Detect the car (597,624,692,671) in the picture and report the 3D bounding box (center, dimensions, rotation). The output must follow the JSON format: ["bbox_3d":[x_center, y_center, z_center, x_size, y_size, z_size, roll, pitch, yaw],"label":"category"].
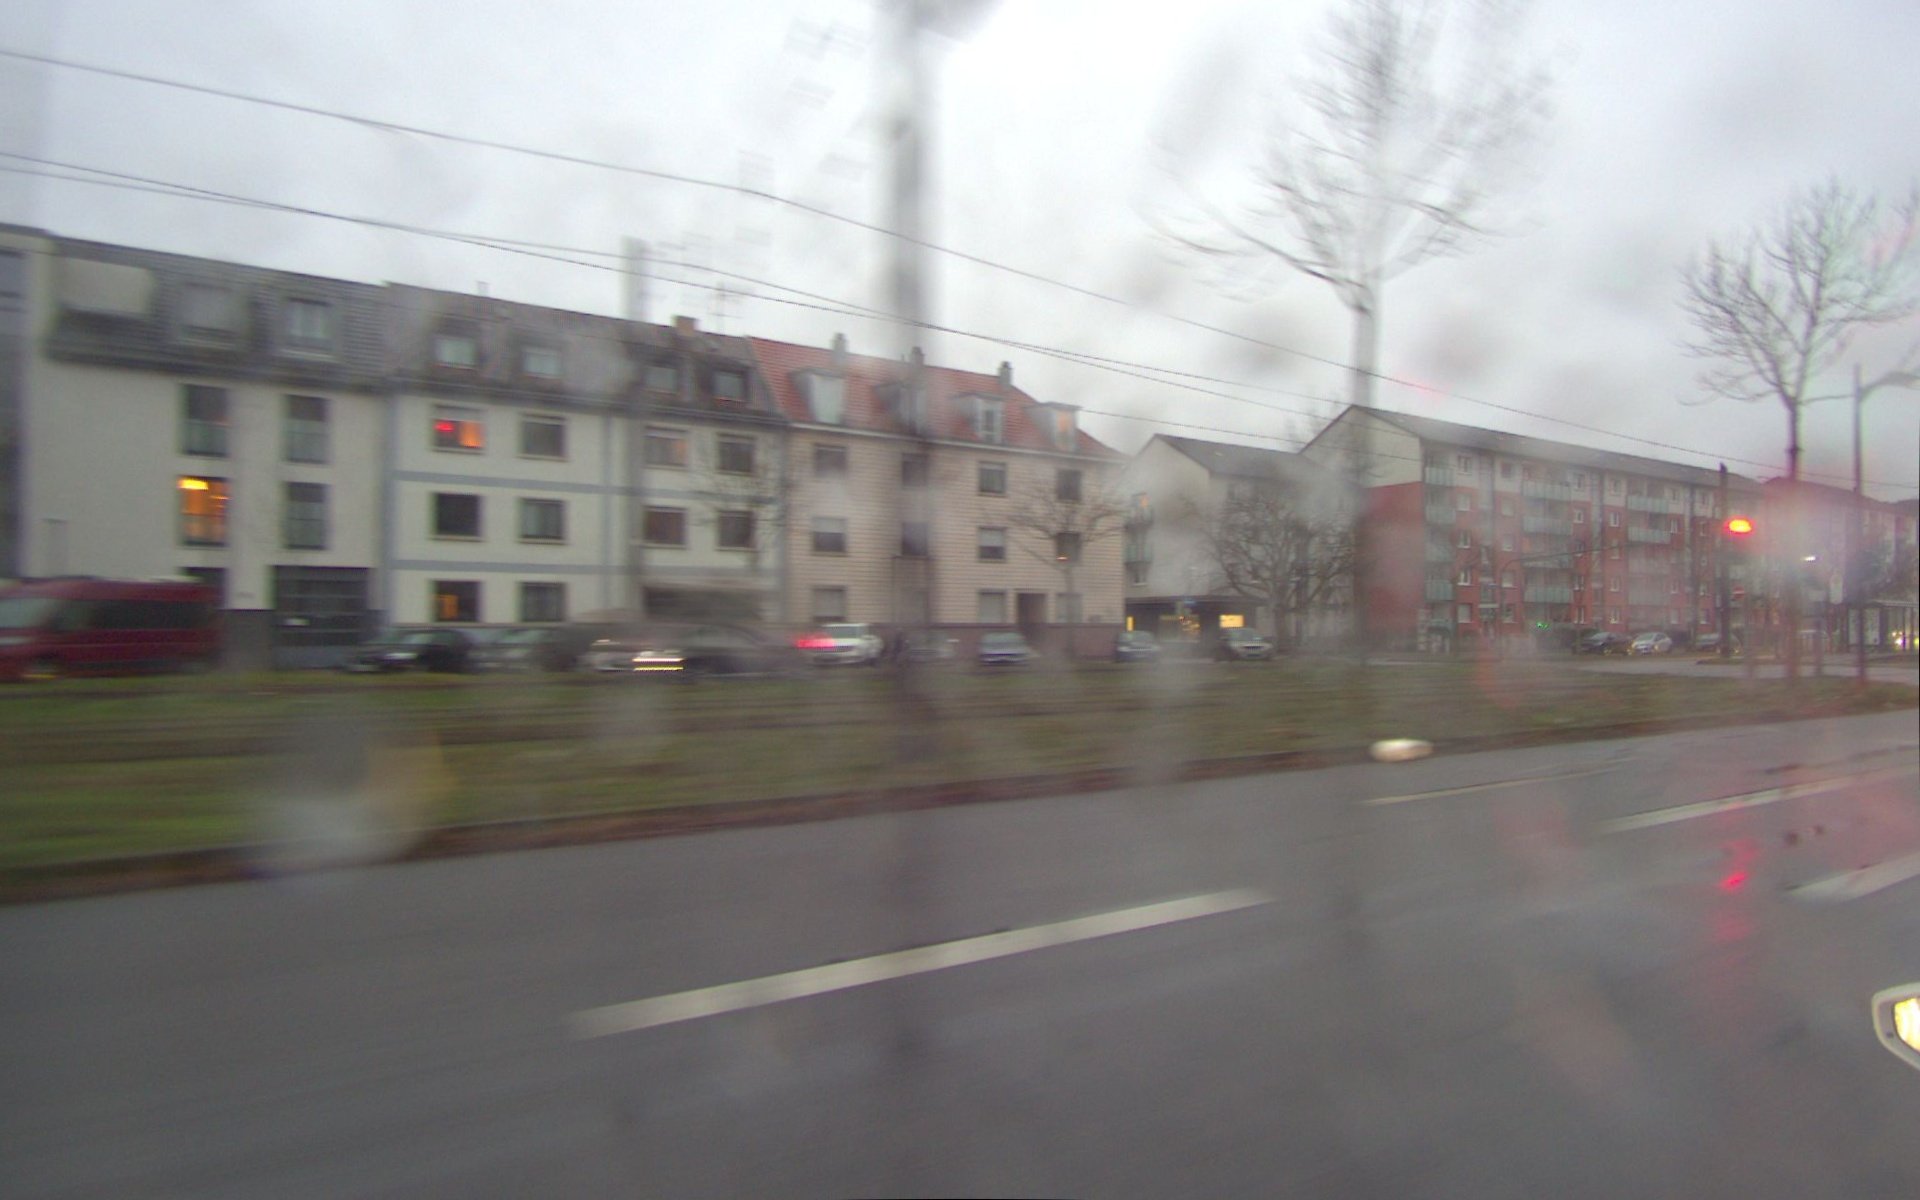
[{"bbox_3d":[-9.102,1.346,29.250,1.658,1.163,3.419,1,0,0],"label":"car"}]

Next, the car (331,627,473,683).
[{"bbox_3d":[-14.521,1.386,26.354,1.713,1.228,3.540,1,0,0],"label":"car"}]

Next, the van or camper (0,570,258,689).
[{"bbox_3d":[-20.104,0.560,23.708,1.960,2.391,6.883,1,0,3],"label":"van or camper"}]

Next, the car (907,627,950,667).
[{"bbox_3d":[-1.056,1.586,34.500,1.369,1.163,3.044,1,0,0],"label":"car"}]

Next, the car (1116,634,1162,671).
[{"bbox_3d":[7.125,2.071,40.209,1.424,1.355,3.770,0,-1,5],"label":"car"}]

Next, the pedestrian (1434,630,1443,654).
[{"bbox_3d":[25.082,2.197,52.668,0.339,1.200,0.434,1,0,18],"label":"pedestrian"}]

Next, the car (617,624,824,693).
[{"bbox_3d":[-5.978,1.407,25.285,4.738,1.523,1.869,1,0,-33],"label":"car"}]

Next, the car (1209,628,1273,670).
[{"bbox_3d":[11.958,2.060,42.960,1.708,1.576,3.799,1,0,1],"label":"car"}]

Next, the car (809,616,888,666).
[{"bbox_3d":[-3.577,1.293,33.031,1.737,1.397,4.126,1,0,6],"label":"car"}]

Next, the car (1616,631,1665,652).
[{"bbox_3d":[44.230,2.688,65.271,3.349,1.304,1.436,1,1,-33],"label":"car"}]

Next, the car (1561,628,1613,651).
[{"bbox_3d":[38.826,2.435,62.218,3.349,1.304,1.436,1,1,-33],"label":"car"}]

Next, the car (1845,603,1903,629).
[{"bbox_3d":[49.840,0.889,54.766,3.597,1.360,1.436,1,1,-33],"label":"car"}]

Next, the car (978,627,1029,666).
[{"bbox_3d":[1.511,1.638,36.192,1.648,1.131,4.189,1,0,0],"label":"car"}]

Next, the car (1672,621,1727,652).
[{"bbox_3d":[51.717,2.541,70.238,3.960,2.040,1.980,1,1,-35],"label":"car"}]

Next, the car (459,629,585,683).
[{"bbox_3d":[-11.900,1.491,27.549,1.845,1.216,3.540,1,0,0],"label":"car"}]
